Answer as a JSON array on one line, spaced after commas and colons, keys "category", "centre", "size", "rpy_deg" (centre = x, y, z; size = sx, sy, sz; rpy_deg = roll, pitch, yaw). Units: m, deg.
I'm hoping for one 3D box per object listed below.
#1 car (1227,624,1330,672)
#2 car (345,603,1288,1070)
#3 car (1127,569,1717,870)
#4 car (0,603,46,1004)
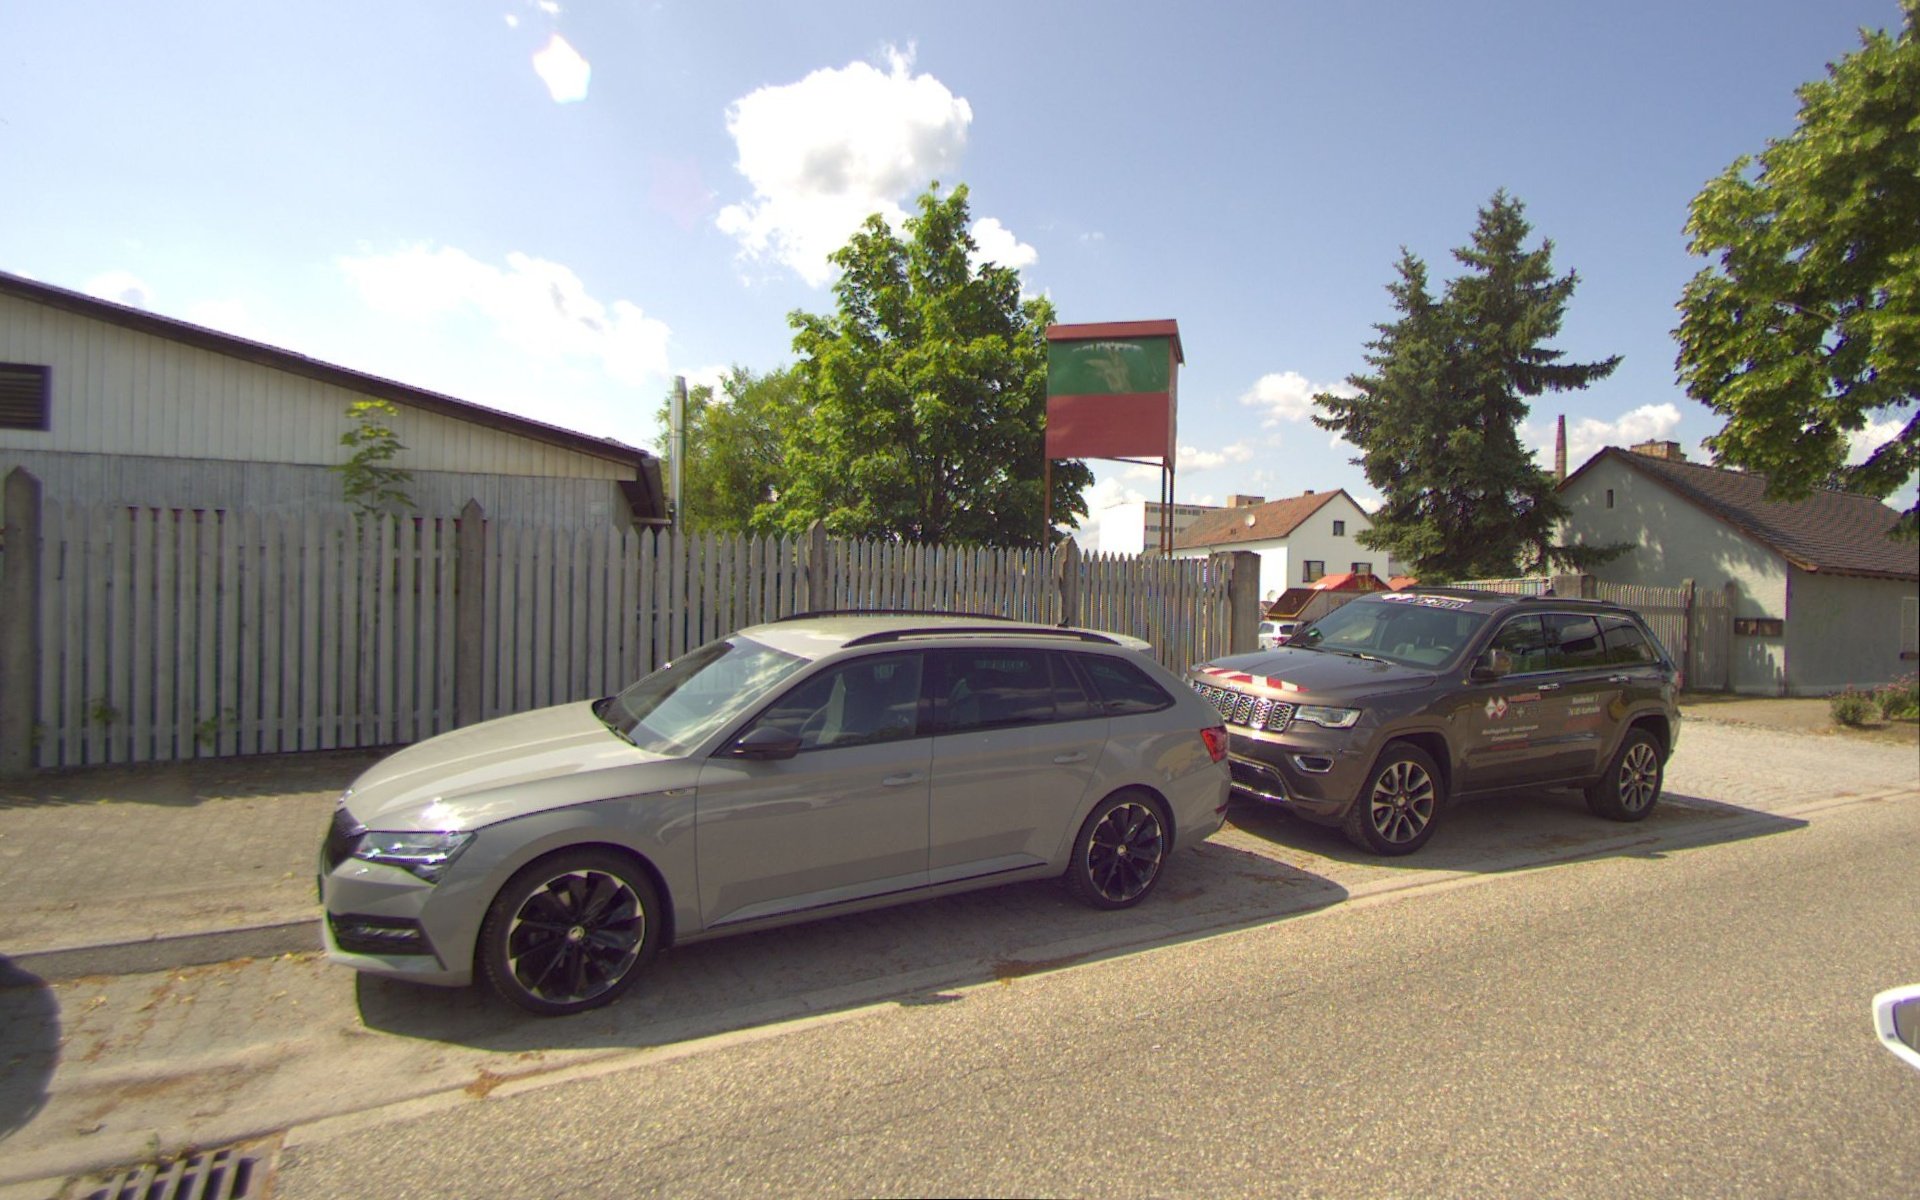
[{"category": "car", "centre": [10.432, 1.539, 33.194], "size": [1.748, 1.434, 3.996], "rpy_deg": [1, -1, -7]}, {"category": "car", "centre": [-0.540, 0.858, 5.425], "size": [4.688, 1.538, 1.724], "rpy_deg": [1, 2, -31]}, {"category": "car", "centre": [3.842, 0.786, 8.156], "size": [4.727, 1.846, 1.911], "rpy_deg": [2, 0, -29]}, {"category": "car", "centre": [-5.196, 0.768, 2.560], "size": [3.982, 1.468, 1.618], "rpy_deg": [1, 4, -32]}]
